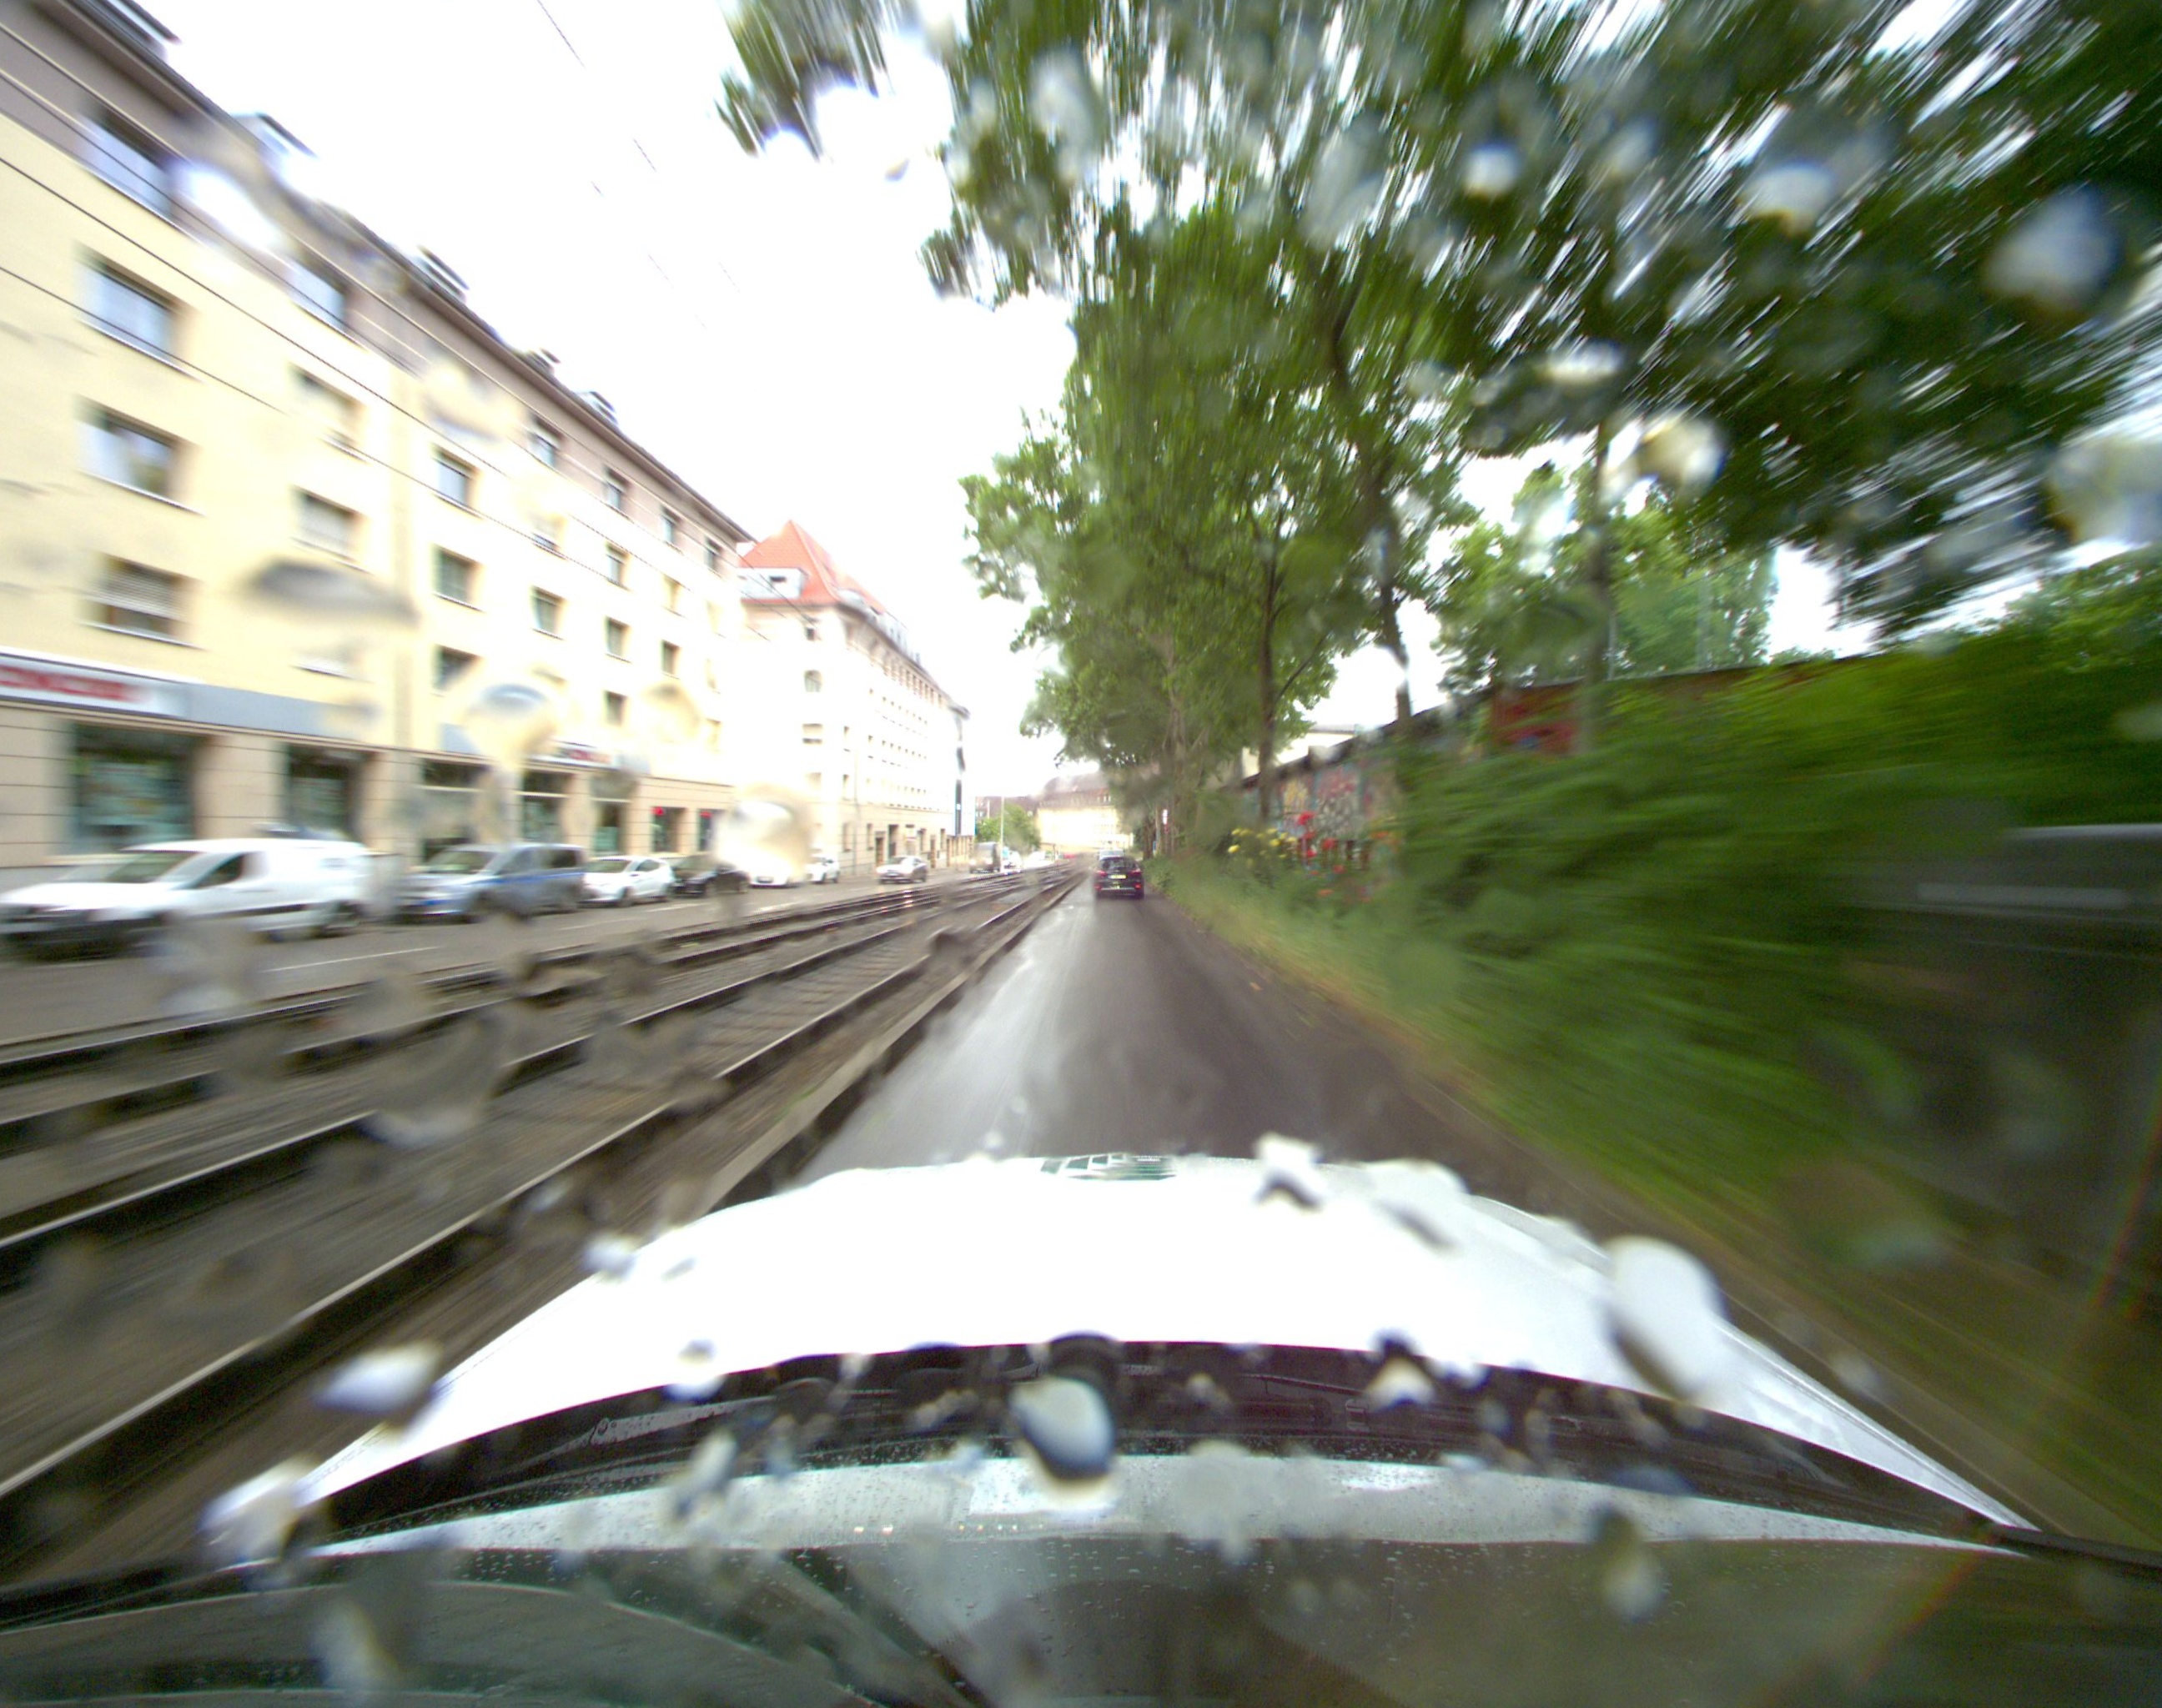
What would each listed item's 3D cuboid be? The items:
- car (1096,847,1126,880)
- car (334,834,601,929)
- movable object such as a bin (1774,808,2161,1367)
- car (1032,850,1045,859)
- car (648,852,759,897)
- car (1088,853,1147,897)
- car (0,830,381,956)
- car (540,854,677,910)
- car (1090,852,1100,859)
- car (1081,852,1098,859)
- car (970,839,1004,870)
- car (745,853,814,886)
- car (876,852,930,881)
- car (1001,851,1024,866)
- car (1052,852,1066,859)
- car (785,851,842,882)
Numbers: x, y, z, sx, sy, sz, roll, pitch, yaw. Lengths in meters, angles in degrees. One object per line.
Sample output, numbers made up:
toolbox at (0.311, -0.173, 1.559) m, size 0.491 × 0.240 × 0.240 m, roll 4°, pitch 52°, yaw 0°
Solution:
car at (1.859, 0.601, 51.417) m, size 1.735 × 2.014 × 3.903 m, roll 0°, pitch -1°, yaw 0°
car at (-14.262, 0.595, 19.523) m, size 1.985 × 1.905 × 5.463 m, roll 1°, pitch -1°, yaw 3°
movable object such as a bin at (3.376, 0.587, 2.584) m, size 1.390 × 1.453 × 1.222 m, roll -2°, pitch 0°, yaw 17°
car at (-7.372, 0.092, 141.167) m, size 1.792 × 1.482 × 4.844 m, roll 0°, pitch -1°, yaw 3°
car at (-13.713, 0.723, 29.916) m, size 1.806 × 1.499 × 4.584 m, roll 1°, pitch -1°, yaw 2°
car at (1.223, 0.739, 29.120) m, size 1.927 × 1.453 × 4.317 m, roll 1°, pitch -1°, yaw 0°
car at (-14.521, 0.579, 13.457) m, size 1.859 × 1.717 × 4.464 m, roll 0°, pitch -1°, yaw 3°
car at (-14.054, 0.765, 24.515) m, size 1.686 × 1.439 × 4.049 m, roll -3°, pitch 0°, yaw 0°
car at (3.114, 0.270, 178.864) m, size 1.655 × 1.476 × 3.635 m, roll 0°, pitch -1°, yaw -6°
car at (1.914, 0.389, 182.611) m, size 2.007 × 1.542 × 3.959 m, roll 0°, pitch -1°, yaw -32°
car at (-7.995, 0.089, 69.766) m, size 1.985 × 2.452 × 6.001 m, roll 0°, pitch -2°, yaw 2°
car at (-13.755, 0.695, 37.338) m, size 1.699 × 1.397 × 3.934 m, roll 1°, pitch -1°, yaw -1°
car at (-9.452, 0.675, 43.616) m, size 1.705 × 1.462 × 4.283 m, roll -1°, pitch -1°, yaw 3°
car at (-7.392, 0.481, 87.947) m, size 1.872 × 1.486 × 4.857 m, roll 0°, pitch 0°, yaw 2°
car at (-5.346, 0.382, 196.819) m, size 2.003 × 1.542 × 3.967 m, roll -1°, pitch -1°, yaw -25°
car at (-13.671, 0.651, 41.837) m, size 1.703 × 1.450 × 3.540 m, roll 2°, pitch -1°, yaw 0°
